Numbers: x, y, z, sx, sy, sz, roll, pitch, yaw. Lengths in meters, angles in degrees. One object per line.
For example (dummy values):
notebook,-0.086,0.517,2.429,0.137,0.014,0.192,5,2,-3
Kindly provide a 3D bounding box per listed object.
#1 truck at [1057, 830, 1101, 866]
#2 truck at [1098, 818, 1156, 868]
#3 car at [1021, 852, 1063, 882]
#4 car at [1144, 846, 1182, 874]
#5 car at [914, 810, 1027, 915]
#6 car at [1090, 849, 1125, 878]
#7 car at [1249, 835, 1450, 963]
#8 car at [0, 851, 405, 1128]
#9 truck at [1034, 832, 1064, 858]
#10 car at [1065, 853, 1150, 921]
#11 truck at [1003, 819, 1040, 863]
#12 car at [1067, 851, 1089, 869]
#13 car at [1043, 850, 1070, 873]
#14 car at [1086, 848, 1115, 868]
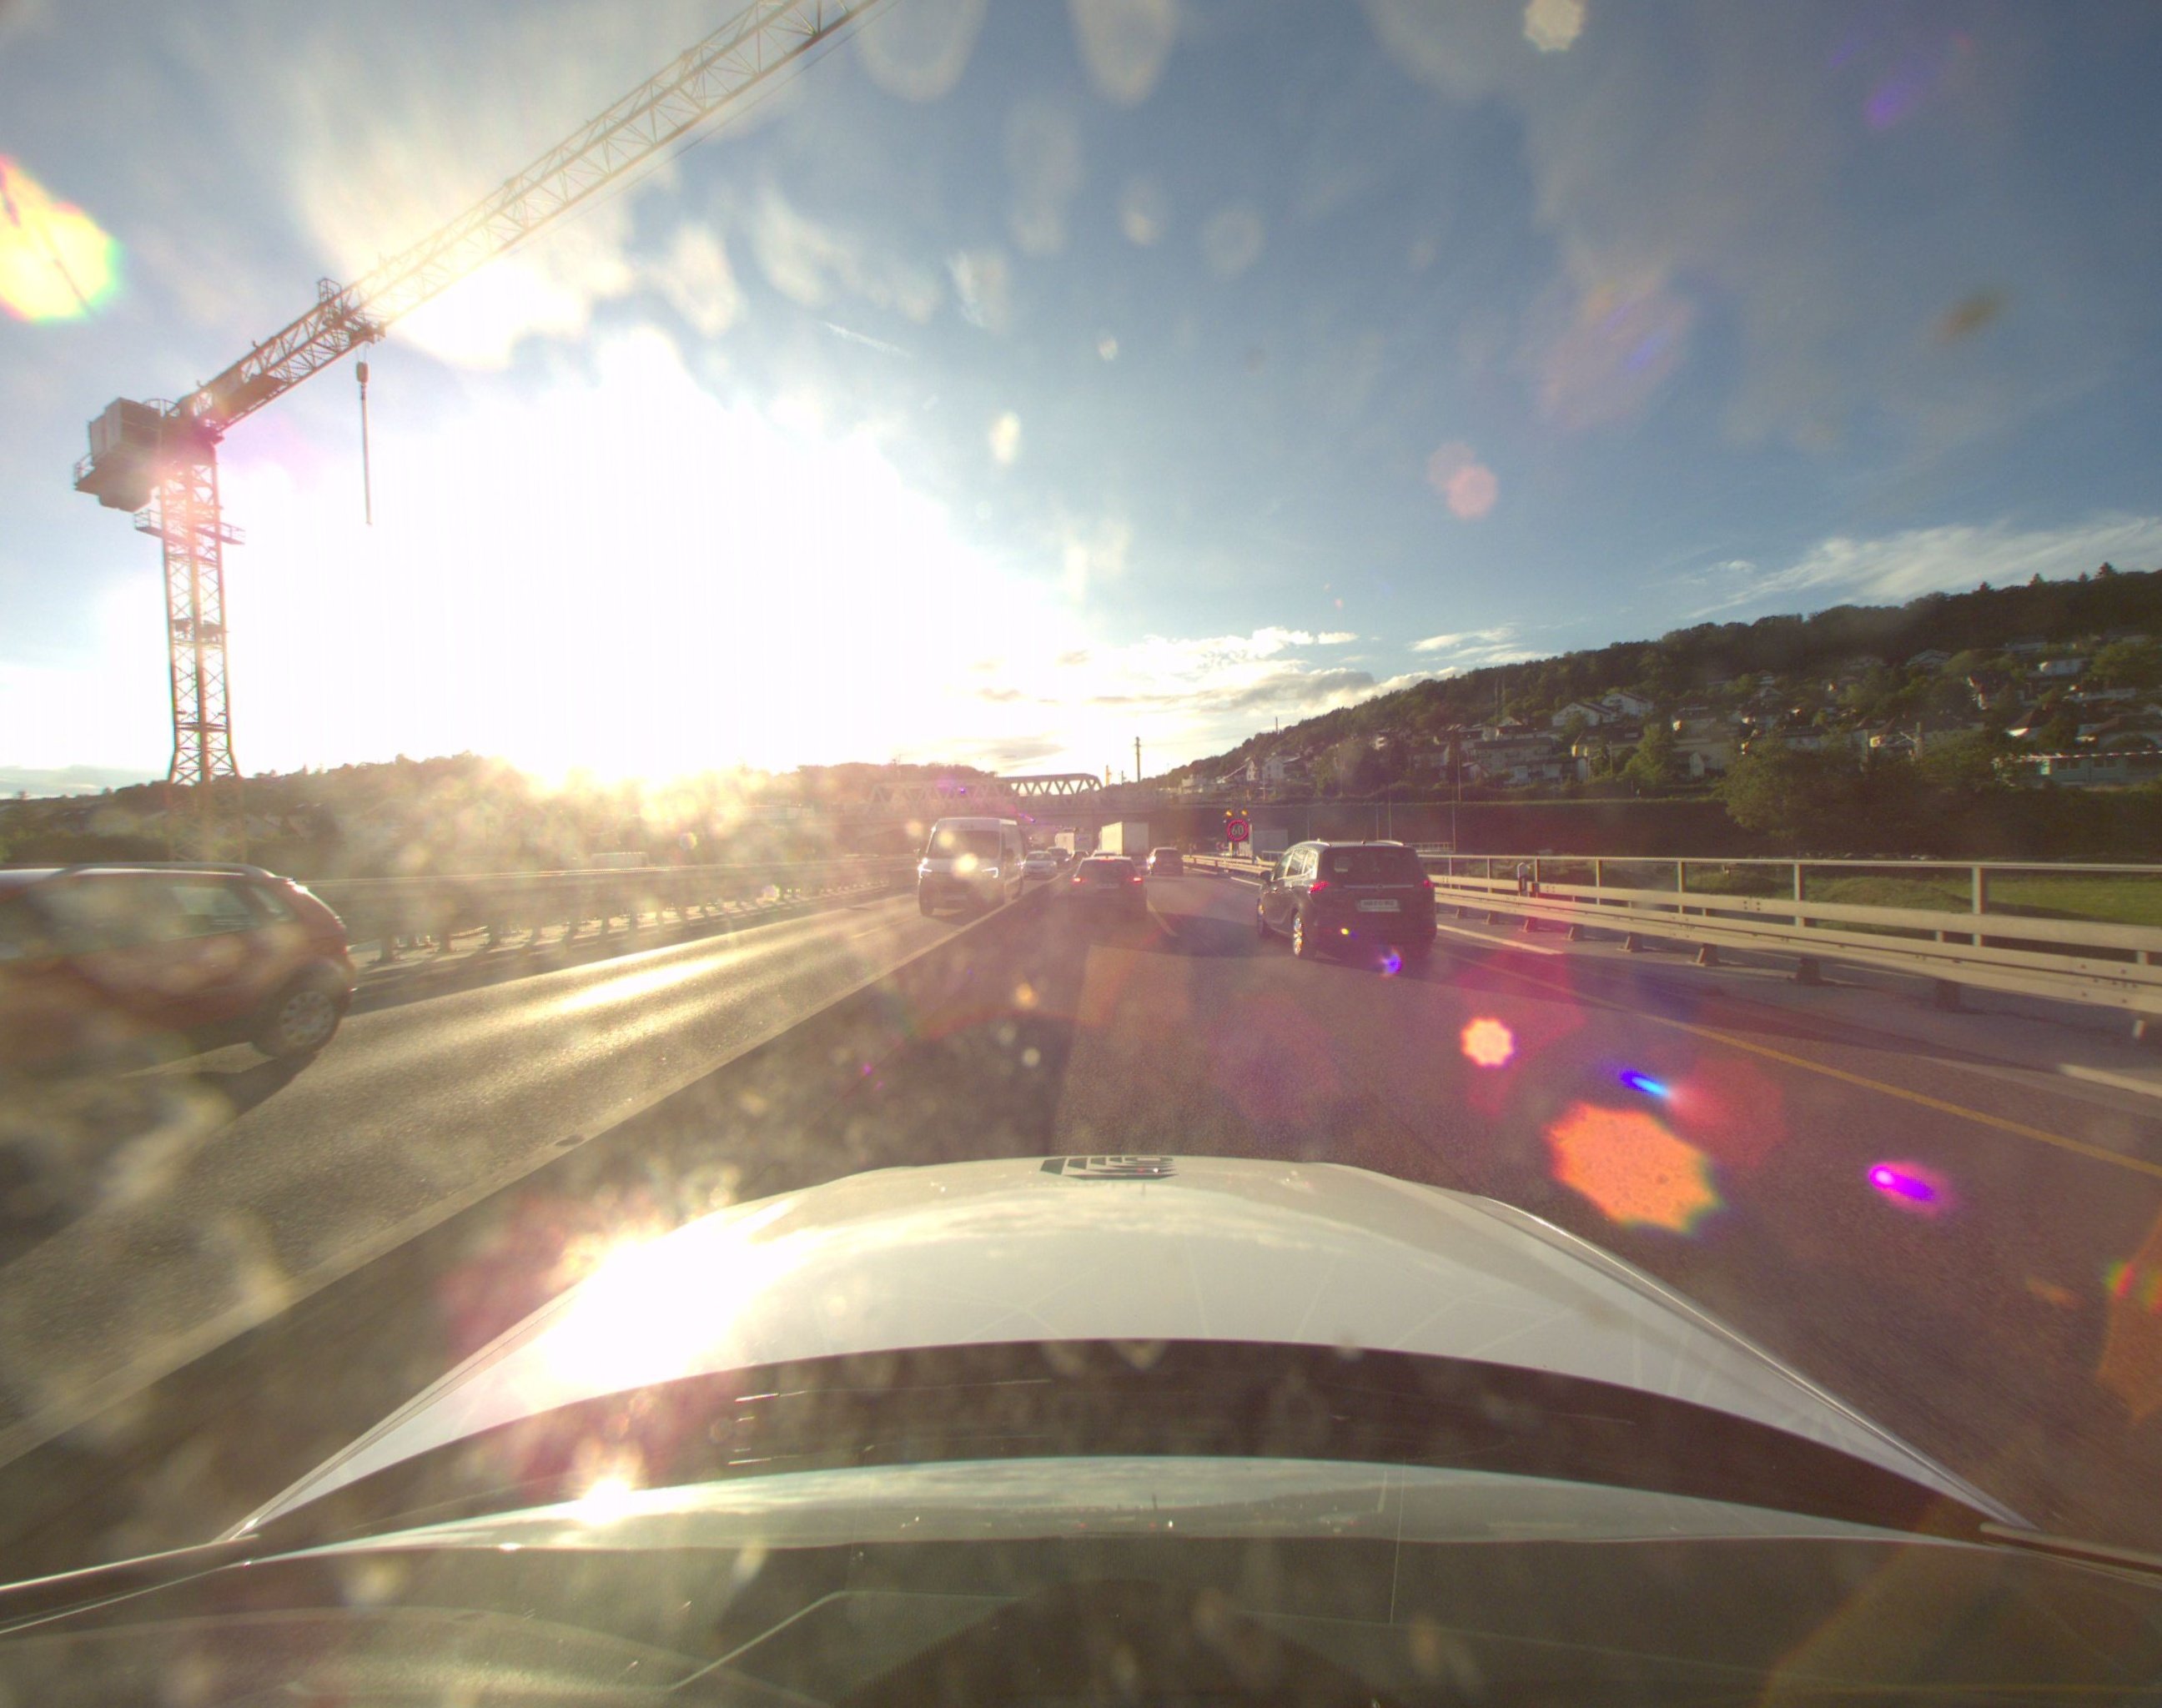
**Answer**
truck,-0.501,-0.773,112.427,3.889,4.498,15.219,0,0,-9
truck,4.323,-0.968,81.330,3.382,4.498,15.232,0,0,-6
car,-2.076,0.665,44.402,1.915,1.497,4.370,-1,0,2
car,4.764,0.326,47.956,1.765,1.552,3.998,1,0,-1
car,-2.797,0.180,22.211,2.066,2.458,6.268,0,0,1
car,1.401,0.486,43.956,1.759,1.486,4.000,0,0,0
car,3.904,0.575,12.662,1.807,1.632,4.413,0,0,2
car,-6.854,0.774,5.152,1.610,1.552,4.090,-1,0,2
truck,-6.013,-1.712,148.345,3.890,4.498,13.805,0,1,-9
car,0.581,0.693,19.014,1.764,1.390,4.001,-1,0,1
truck,-5.517,-1.187,77.203,2.923,3.890,10.257,0,0,-1
car,-0.328,0.565,83.069,1.697,1.732,3.989,0,0,-8
car,-1.700,0.495,57.314,1.787,1.540,4.365,-1,0,-1
car,1.520,0.292,64.548,1.763,1.486,3.992,0,0,-6
